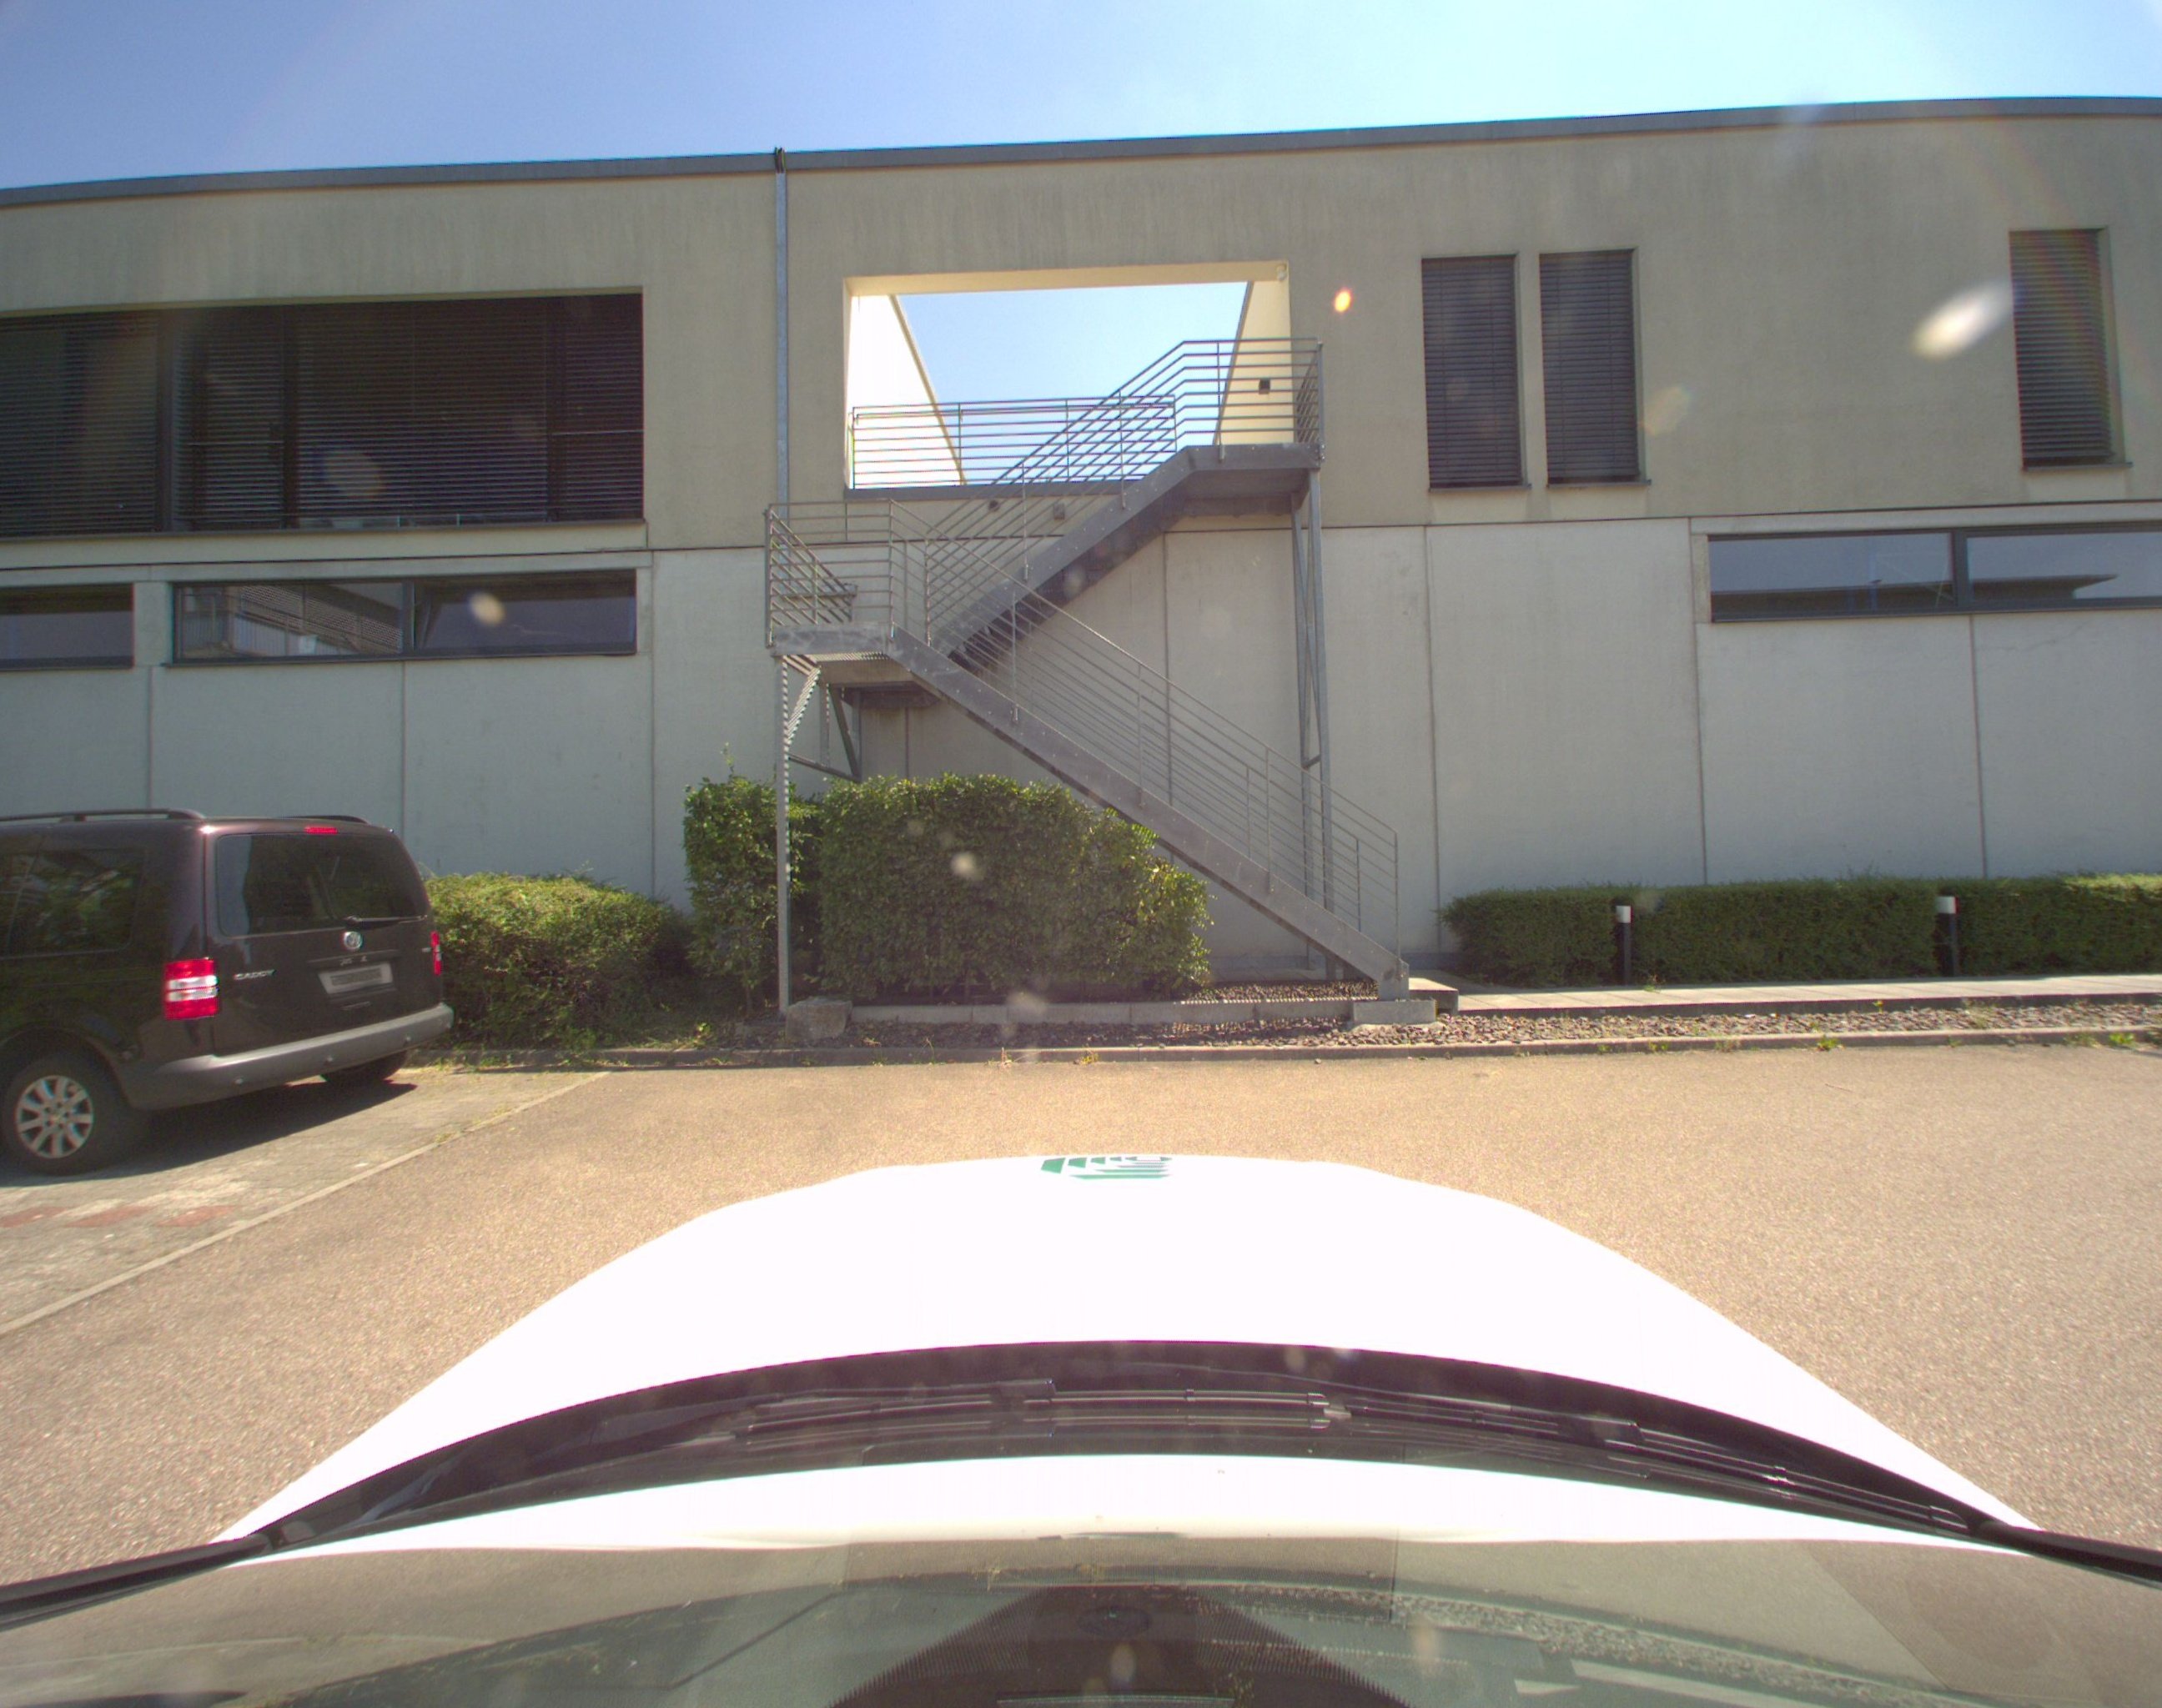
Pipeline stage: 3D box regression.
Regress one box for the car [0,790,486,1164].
[{"bbox_3d":[-6.310,0.661,5.035,4.042,1.884,1.680,-1,0,2],"label":"car"}]
